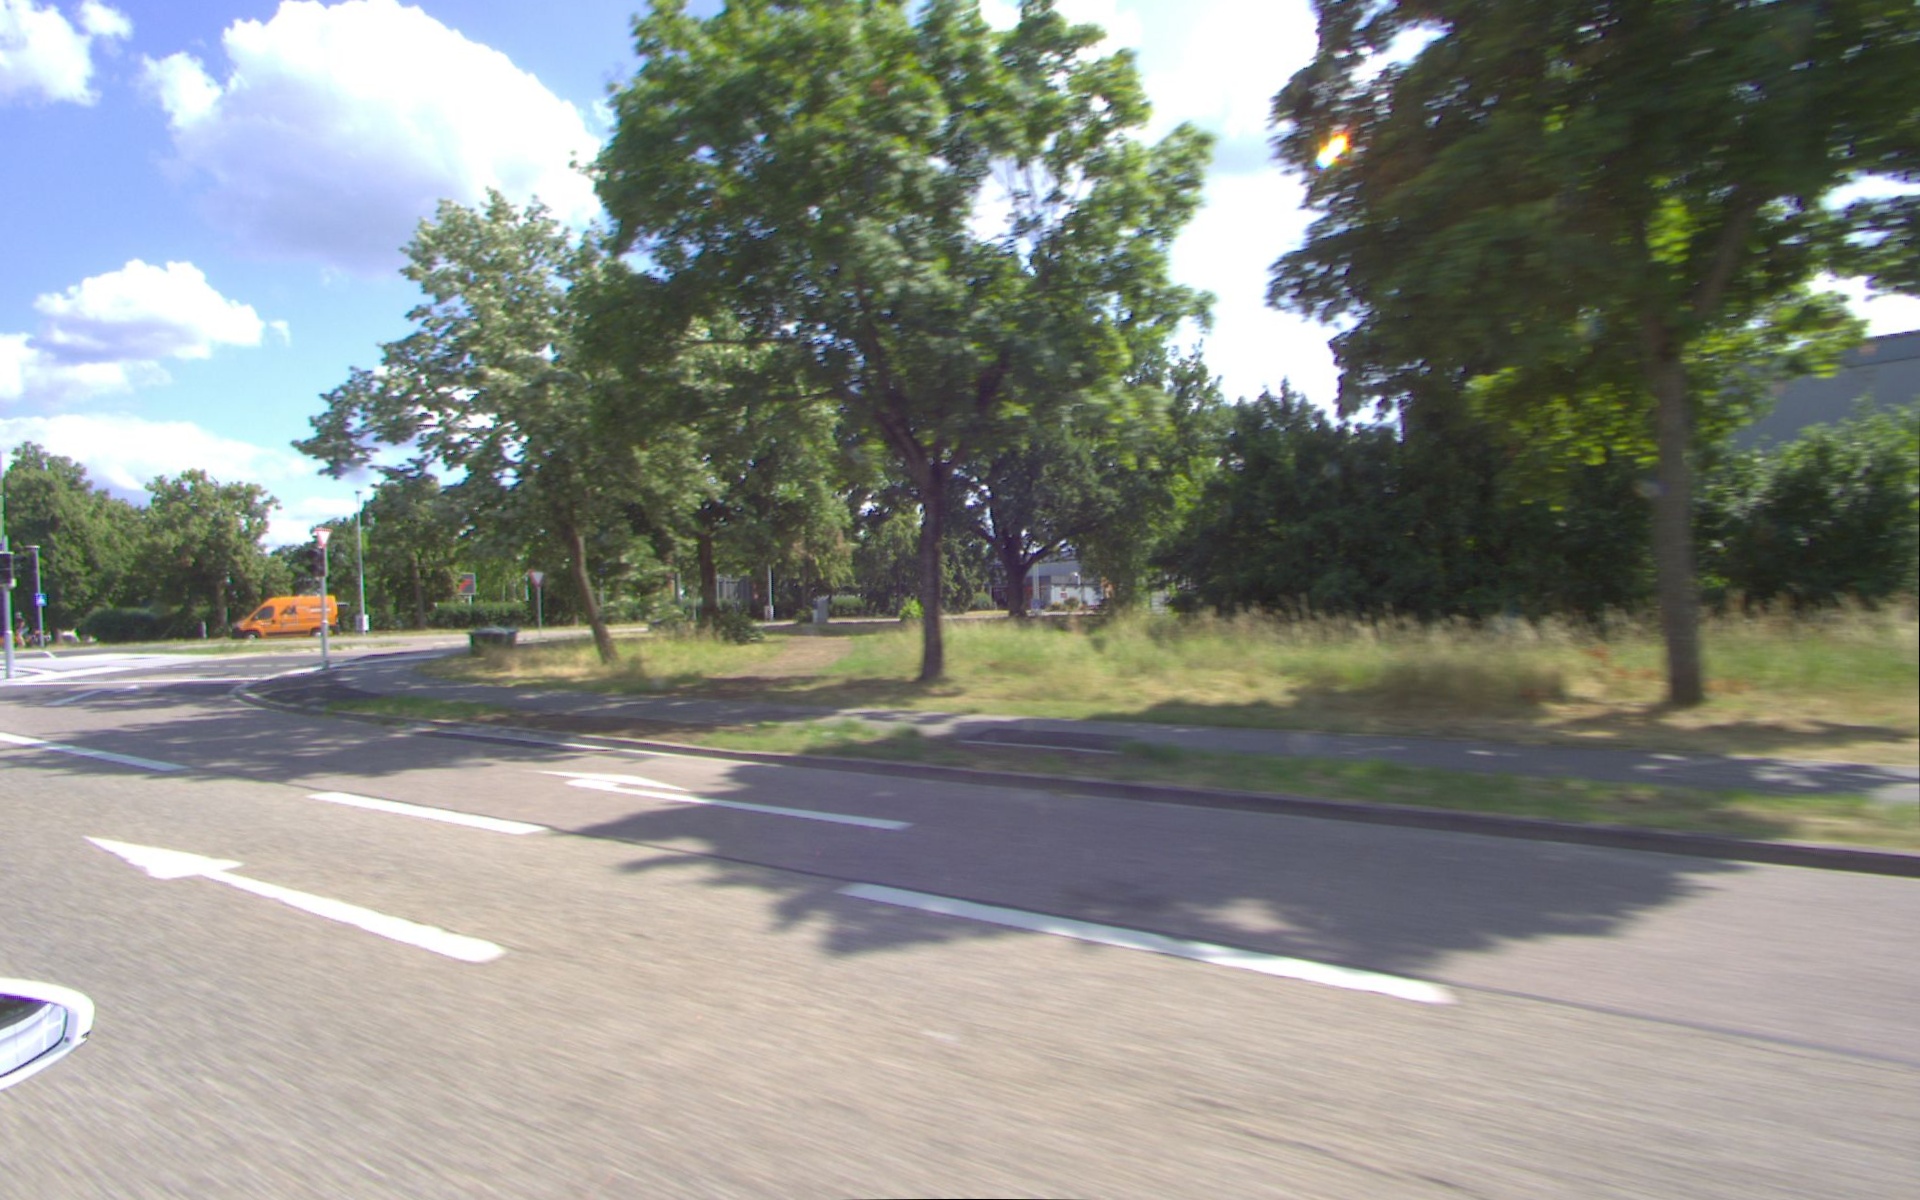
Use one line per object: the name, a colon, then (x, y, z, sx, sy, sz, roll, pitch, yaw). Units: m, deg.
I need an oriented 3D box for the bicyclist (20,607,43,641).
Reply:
bicyclist: (-50.229, 1.301, 54.170, 0.779, 1.828, 0.681, -1, 0, -35)

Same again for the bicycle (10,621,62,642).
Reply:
bicycle: (-50.067, 1.707, 54.286, 1.977, 1.108, 0.681, -1, 0, -35)

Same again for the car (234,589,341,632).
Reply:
car: (-36.939, 0.638, 55.150, 4.794, 2.254, 2.199, 1, -2, -33)
